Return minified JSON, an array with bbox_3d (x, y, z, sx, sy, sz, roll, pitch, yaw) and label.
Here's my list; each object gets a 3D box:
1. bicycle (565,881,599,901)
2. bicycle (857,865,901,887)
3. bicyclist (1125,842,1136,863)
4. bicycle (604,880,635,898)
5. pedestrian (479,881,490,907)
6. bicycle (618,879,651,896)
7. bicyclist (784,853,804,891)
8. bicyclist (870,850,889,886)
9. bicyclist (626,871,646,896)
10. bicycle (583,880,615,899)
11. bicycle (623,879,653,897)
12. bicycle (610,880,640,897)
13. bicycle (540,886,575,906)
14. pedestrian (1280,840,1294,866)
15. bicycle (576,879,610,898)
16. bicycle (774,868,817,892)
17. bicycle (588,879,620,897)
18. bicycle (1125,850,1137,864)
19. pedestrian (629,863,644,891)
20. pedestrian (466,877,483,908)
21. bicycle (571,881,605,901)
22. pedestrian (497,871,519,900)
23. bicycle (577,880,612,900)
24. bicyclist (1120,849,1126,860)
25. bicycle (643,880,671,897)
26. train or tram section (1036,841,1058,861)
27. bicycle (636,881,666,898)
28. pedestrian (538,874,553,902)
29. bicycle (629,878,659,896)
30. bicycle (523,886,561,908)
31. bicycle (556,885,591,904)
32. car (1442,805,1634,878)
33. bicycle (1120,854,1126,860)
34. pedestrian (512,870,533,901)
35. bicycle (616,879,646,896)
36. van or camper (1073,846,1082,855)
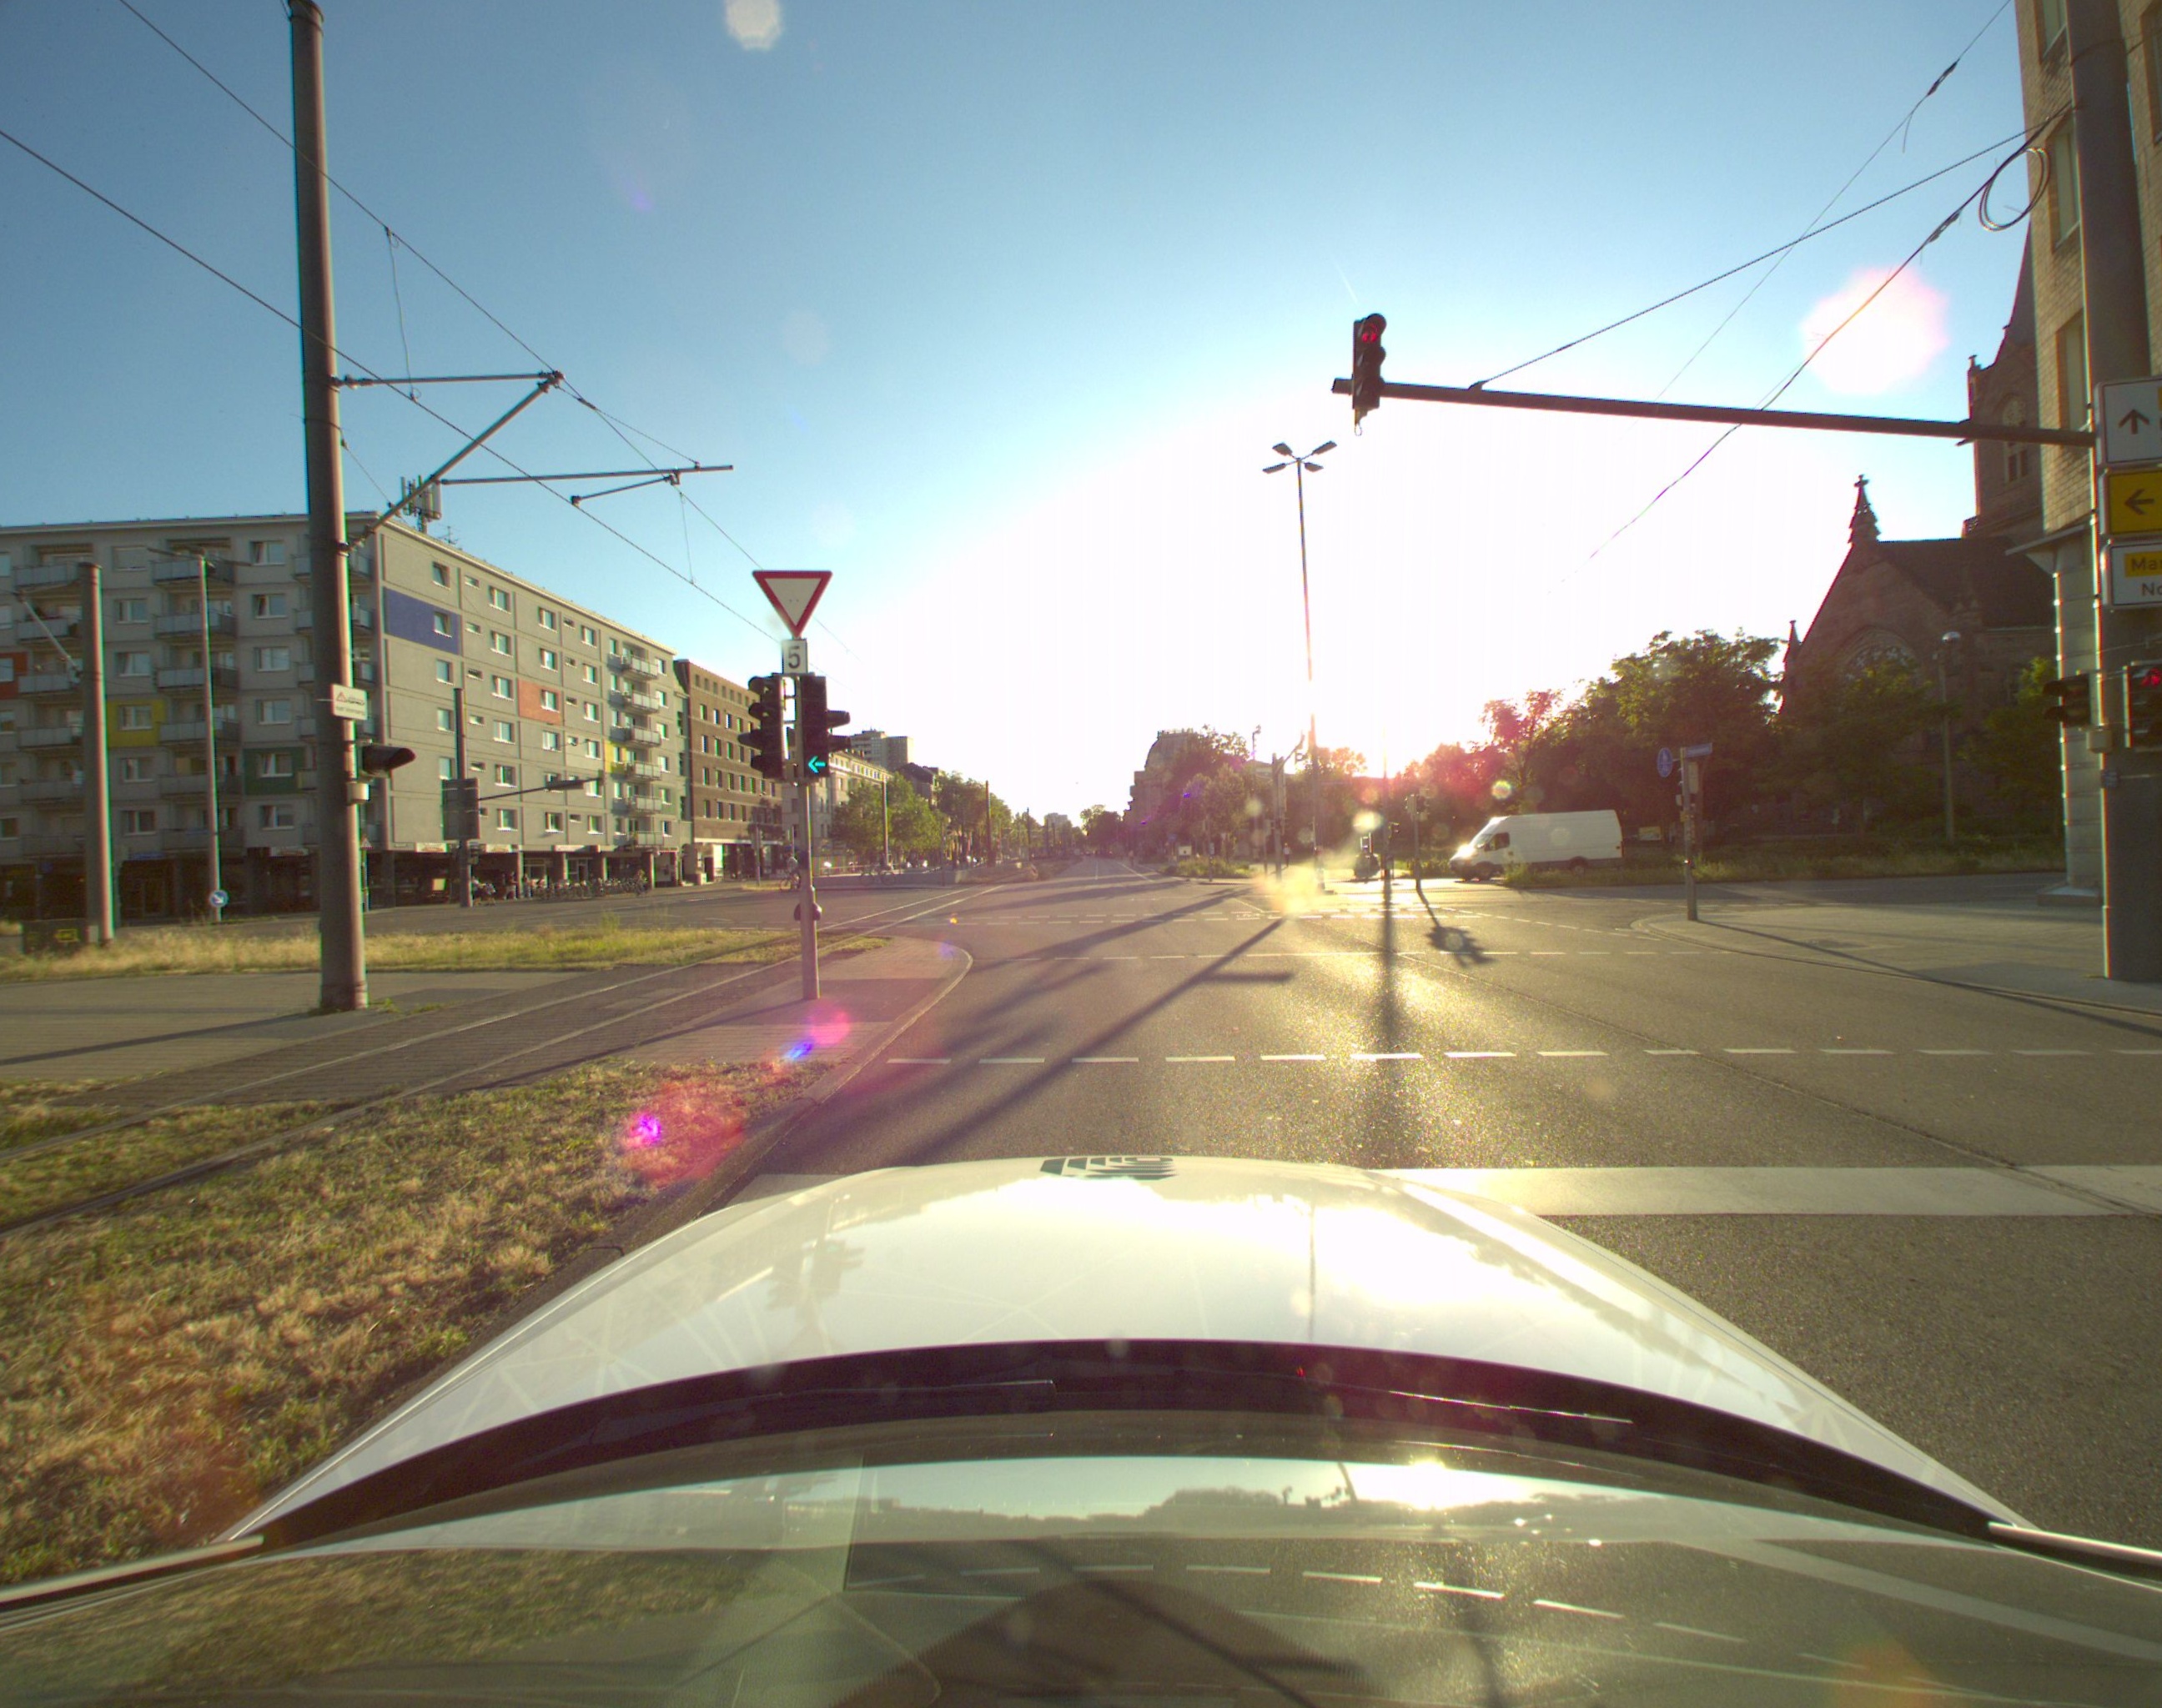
[{"bbox_3d":[-31.280,2.290,51.058,1.759,1.167,0.540,-2,0,2],"label":"bicycle"},{"bbox_3d":[-10.557,1.119,42.530,2.162,1.083,0.537,-1,-1,-8],"label":"bicycle"},{"bbox_3d":[5.305,-0.161,86.568,1.078,2.276,0.986,-2,0,1],"label":"bicyclist"},{"bbox_3d":[-31.136,2.337,54.978,1.748,1.117,0.552,-2,0,2],"label":"bicycle"},{"bbox_3d":[-32.393,2.174,44.215,0.383,1.383,0.392,-2,0,-26],"label":"pedestrian"},{"bbox_3d":[-26.901,2.027,49.104,0.503,0.944,1.678,-2,0,29],"label":"bicycle"},{"bbox_3d":[-14.088,0.886,39.995,0.793,1.818,0.643,-2,0,-12],"label":"bicyclist"},{"bbox_3d":[-10.521,0.737,42.534,0.875,1.818,0.536,-2,0,-8],"label":"bicyclist"},{"bbox_3d":[-26.861,1.782,49.186,0.494,1.426,0.863,-2,0,28],"label":"bicyclist"},{"bbox_3d":[-31.817,2.358,53.753,1.769,1.159,0.606,-2,0,1],"label":"bicycle"},{"bbox_3d":[-30.960,2.365,56.881,1.683,1.153,0.706,-2,0,3],"label":"bicycle"},{"bbox_3d":[-31.104,2.353,55.564,1.754,1.119,0.568,-2,0,2],"label":"bicycle"},{"bbox_3d":[-32.041,2.594,49.861,1.770,1.142,0.608,-2,0,1],"label":"bicycle"},{"bbox_3d":[14.954,-0.082,59.075,0.826,1.803,0.814,-2,0,17],"label":"pedestrian"},{"bbox_3d":[-31.820,2.247,53.116,1.824,1.160,0.640,-2,0,1],"label":"bicycle"},{"bbox_3d":[-14.025,1.270,40.012,1.902,1.075,0.630,-2,0,-12],"label":"bicycle"},{"bbox_3d":[-31.829,2.244,54.389,1.764,1.136,0.606,-2,0,2],"label":"bicycle"},{"bbox_3d":[5.317,0.303,86.672,1.094,1.399,2.833,-2,0,2],"label":"bicycle"},{"bbox_3d":[-34.719,1.788,63.603,0.599,2.178,0.792,-2,0,1],"label":"pedestrian"},{"bbox_3d":[-32.373,2.039,43.476,0.575,1.620,0.598,-2,0,-29],"label":"pedestrian"},{"bbox_3d":[-31.264,2.343,51.663,1.762,1.182,0.568,-2,0,1],"label":"bicycle"},{"bbox_3d":[-35.858,1.966,50.970,0.826,1.812,0.718,-2,0,-9],"label":"pedestrian"},{"bbox_3d":[-31.241,2.329,52.305,1.782,1.191,0.652,-2,0,1],"label":"bicycle"},{"bbox_3d":[7.410,0.121,144.683,0.922,2.013,0.851,-2,0,1],"label":"bicyclist"},{"bbox_3d":[-30.787,2.494,59.158,1.683,1.144,0.697,-2,0,3],"label":"bicycle"},{"bbox_3d":[-7.343,-0.806,175.247,4.375,3.849,11.402,-2,2,-2],"label":"train or tram section"},{"bbox_3d":[-30.851,2.538,58.415,1.683,1.170,0.749,-2,0,3],"label":"bicycle"},{"bbox_3d":[-33.148,2.081,50.403,0.579,1.684,0.545,-2,0,-8],"label":"pedestrian"},{"bbox_3d":[-30.902,2.358,57.641,1.683,1.179,0.749,-2,0,3],"label":"bicycle"},{"bbox_3d":[-32.286,2.562,48.805,1.788,1.208,0.638,-2,0,0],"label":"bicycle"},{"bbox_3d":[-31.461,2.504,50.486,1.750,1.139,0.600,-2,0,2],"label":"bicycle"},{"bbox_3d":[19.613,-0.514,35.194,6.981,2.827,2.095,-2,0,3],"label":"car"},{"bbox_3d":[7.435,0.556,144.642,0.921,1.111,2.334,-2,0,2],"label":"bicycle"},{"bbox_3d":[-34.986,1.970,51.046,0.785,1.841,0.733,-2,0,-7],"label":"pedestrian"},{"bbox_3d":[-31.043,2.326,56.198,1.719,1.124,0.634,-2,-1,3],"label":"bicycle"},{"bbox_3d":[-1.047,-0.991,247.185,2.441,2.770,5.600,-2,0,0],"label":"van or camper"}]
